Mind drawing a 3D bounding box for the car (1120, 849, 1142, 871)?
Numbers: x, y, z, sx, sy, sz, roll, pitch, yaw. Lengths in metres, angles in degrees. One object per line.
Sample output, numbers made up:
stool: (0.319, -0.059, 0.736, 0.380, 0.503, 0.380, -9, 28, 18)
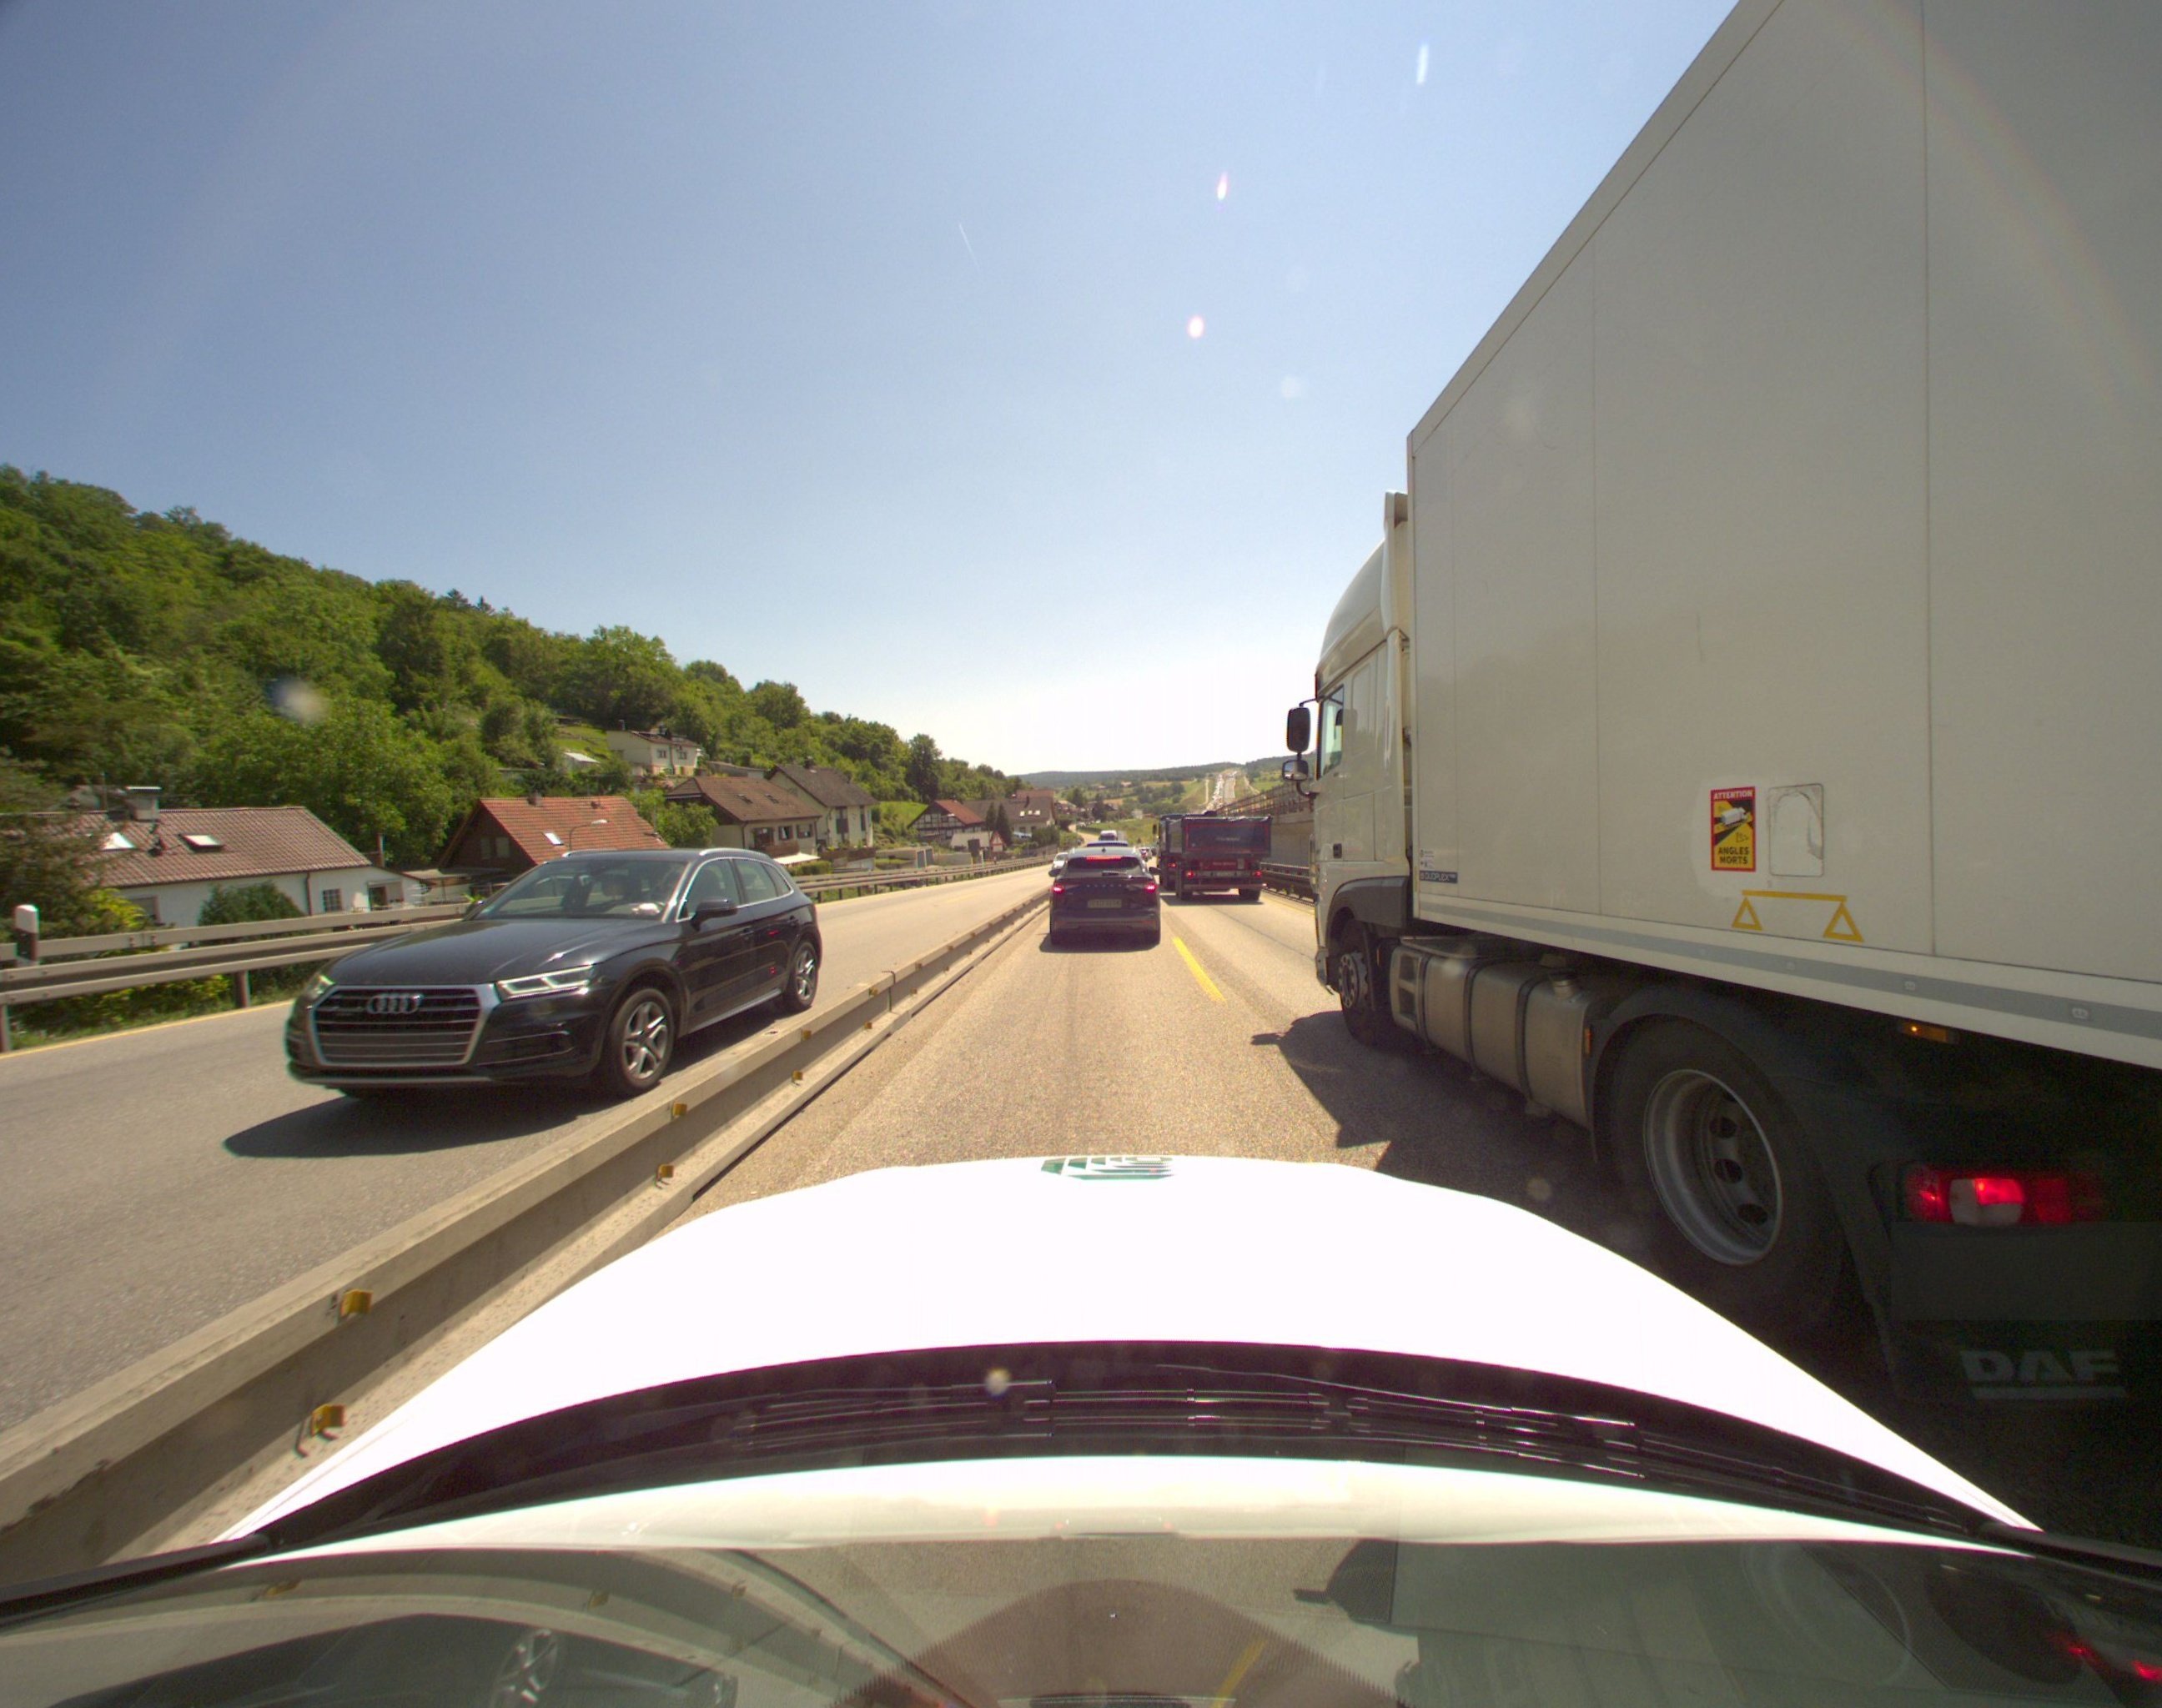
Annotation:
car: (3.985, 0.421, 64.498, 1.699, 1.622, 4.006, 0, 1, 5)

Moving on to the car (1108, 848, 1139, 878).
car: (2.404, 0.492, 47.017, 1.700, 1.622, 4.002, 0, 1, 1)

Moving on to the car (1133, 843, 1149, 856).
car: (7.527, -0.604, 101.849, 1.983, 1.585, 3.842, 0, 0, 6)

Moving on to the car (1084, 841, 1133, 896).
car: (1.004, 0.472, 30.393, 1.700, 1.881, 4.002, 0, 1, 1)

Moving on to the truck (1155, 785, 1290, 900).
truck: (4.545, -0.301, 29.270, 3.182, 3.191, 12.817, -1, 0, 3)

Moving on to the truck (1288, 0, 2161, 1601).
truck: (3.139, -0.733, 3.615, 2.504, 4.025, 8.239, 0, 0, 1)

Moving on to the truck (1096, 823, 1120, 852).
truck: (4.386, -2.455, 128.481, 3.287, 4.362, 8.313, 0, 0, 5)

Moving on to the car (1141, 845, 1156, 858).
car: (9.600, -0.323, 115.775, 1.690, 1.727, 3.846, 0, 0, 10)

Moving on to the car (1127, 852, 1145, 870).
car: (5.301, 0.615, 78.305, 1.699, 1.622, 4.006, 0, 1, 5)

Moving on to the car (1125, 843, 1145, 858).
car: (5.945, -0.386, 89.234, 1.983, 1.585, 3.842, 0, 0, 6)

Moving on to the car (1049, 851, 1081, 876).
car: (-0.970, 0.579, 51.202, 1.740, 1.426, 3.711, -1, 1, 2)

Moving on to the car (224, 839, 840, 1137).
car: (-3.689, 0.745, 6.732, 1.910, 1.596, 4.529, -1, 0, 1)

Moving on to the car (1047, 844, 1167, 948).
car: (0.446, 0.659, 14.487, 1.836, 1.586, 3.908, 0, 0, 1)
